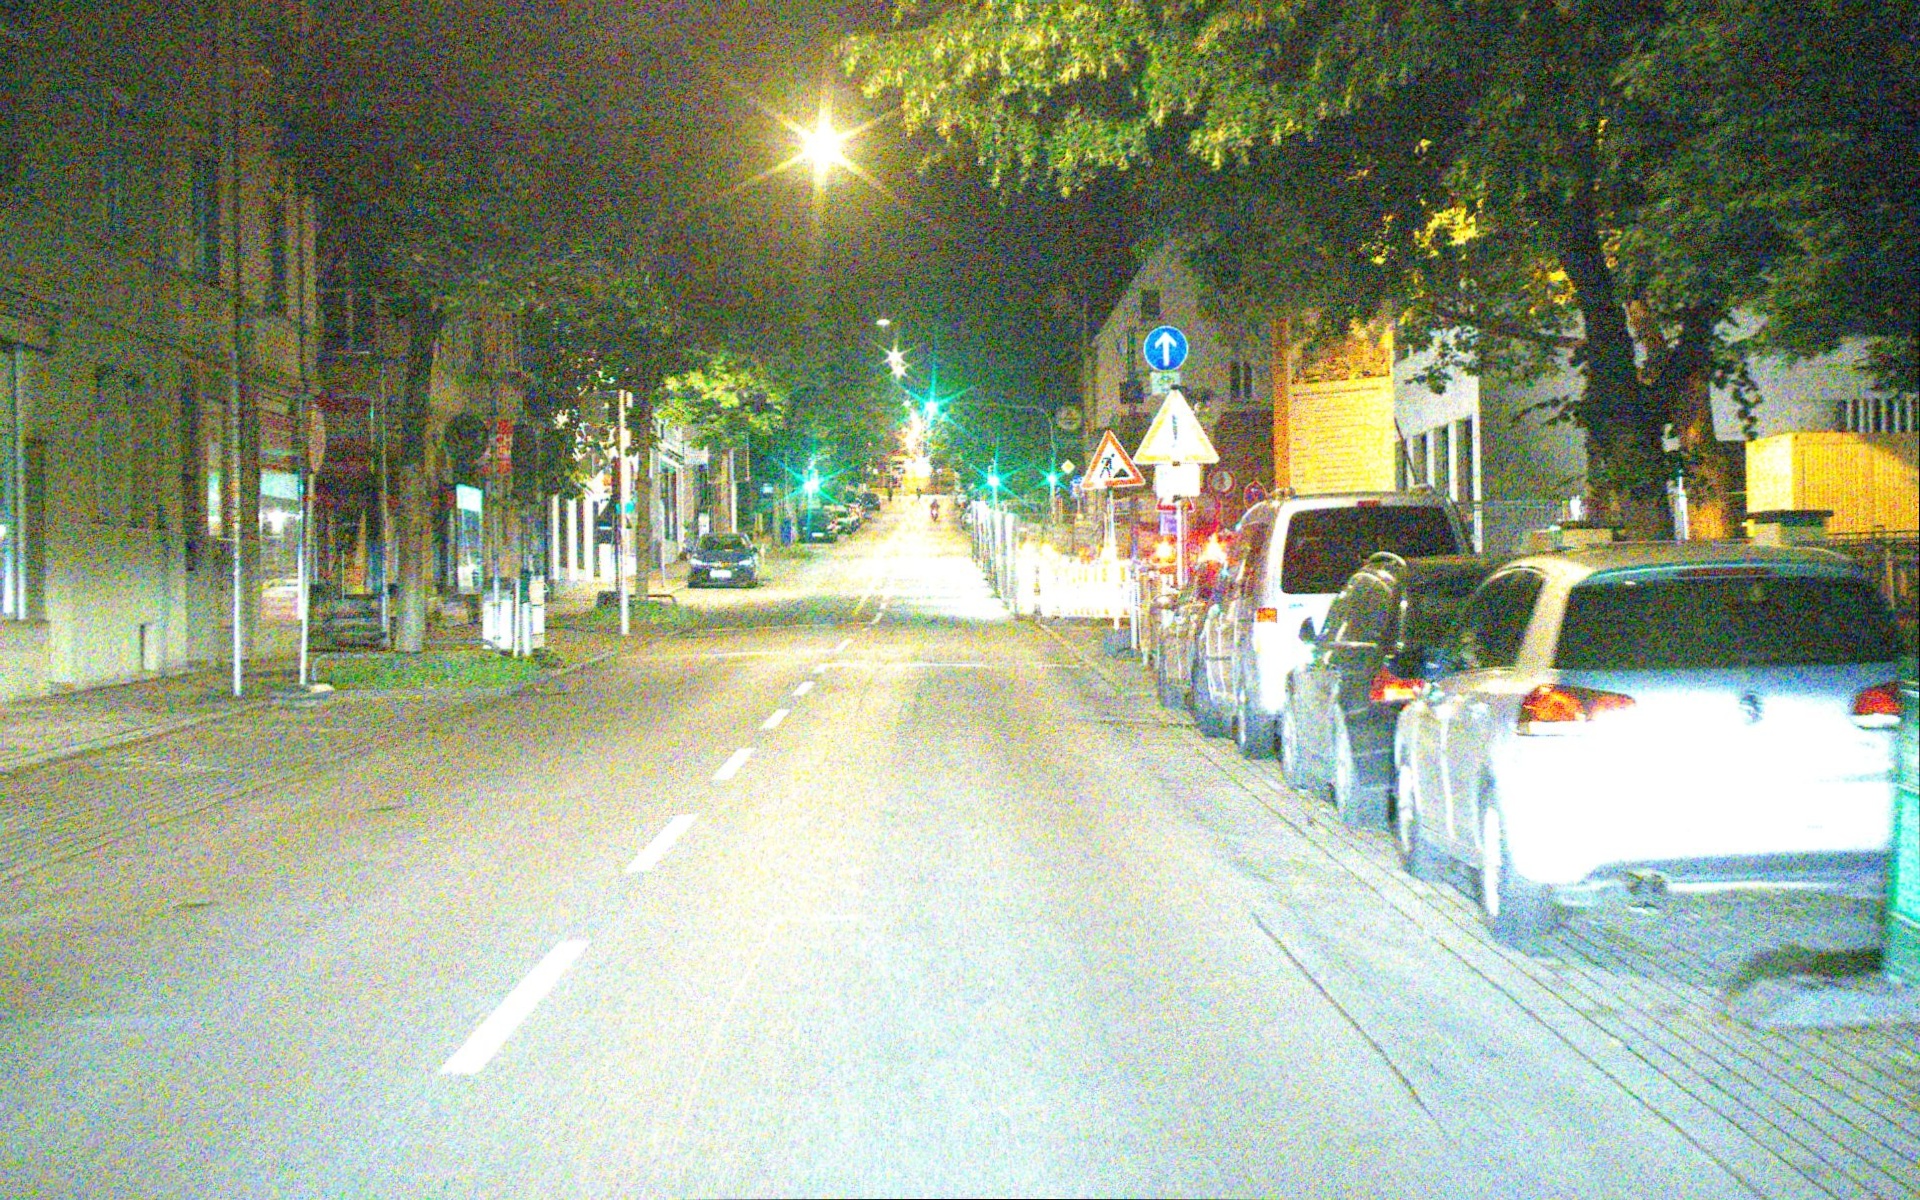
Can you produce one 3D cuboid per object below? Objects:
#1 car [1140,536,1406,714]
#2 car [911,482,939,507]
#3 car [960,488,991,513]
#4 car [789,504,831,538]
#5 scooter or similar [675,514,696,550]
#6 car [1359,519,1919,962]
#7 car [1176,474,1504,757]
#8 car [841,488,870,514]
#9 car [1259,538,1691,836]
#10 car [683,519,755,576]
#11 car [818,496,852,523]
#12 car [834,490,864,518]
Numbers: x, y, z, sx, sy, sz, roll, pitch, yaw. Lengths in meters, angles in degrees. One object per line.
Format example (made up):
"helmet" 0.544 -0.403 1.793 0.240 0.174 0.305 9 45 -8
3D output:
"car" 2.671 0.165 30.243 1.727 1.414 4.324 -1 1 -3
"car" -2.527 -7.647 249.406 1.873 1.808 4.205 -1 2 1
"car" 0.946 -6.222 214.743 1.873 1.539 4.205 -1 2 -1
"car" -7.133 -3.781 163.781 1.873 1.539 4.205 -1 2 -1
"scooter or similar" -9.438 -2.342 118.220 0.528 1.161 2.507 -2 0 -1
"car" 2.781 0.454 14.158 1.739 1.472 4.000 -3 1 0
"car" 2.680 0.059 25.186 1.735 1.848 4.317 -2 1 -2
"car" -7.418 -7.024 243.961 1.873 1.808 4.205 -1 2 1
"car" 2.759 0.395 19.332 1.686 1.416 4.444 -2 1 0
"car" -6.444 -1.426 92.206 1.671 1.438 4.205 -1 2 -1
"car" -7.329 -5.300 201.735 1.873 1.539 4.205 -1 2 -1
"car" -7.306 -6.311 226.016 1.873 1.808 4.205 -1 2 -1
